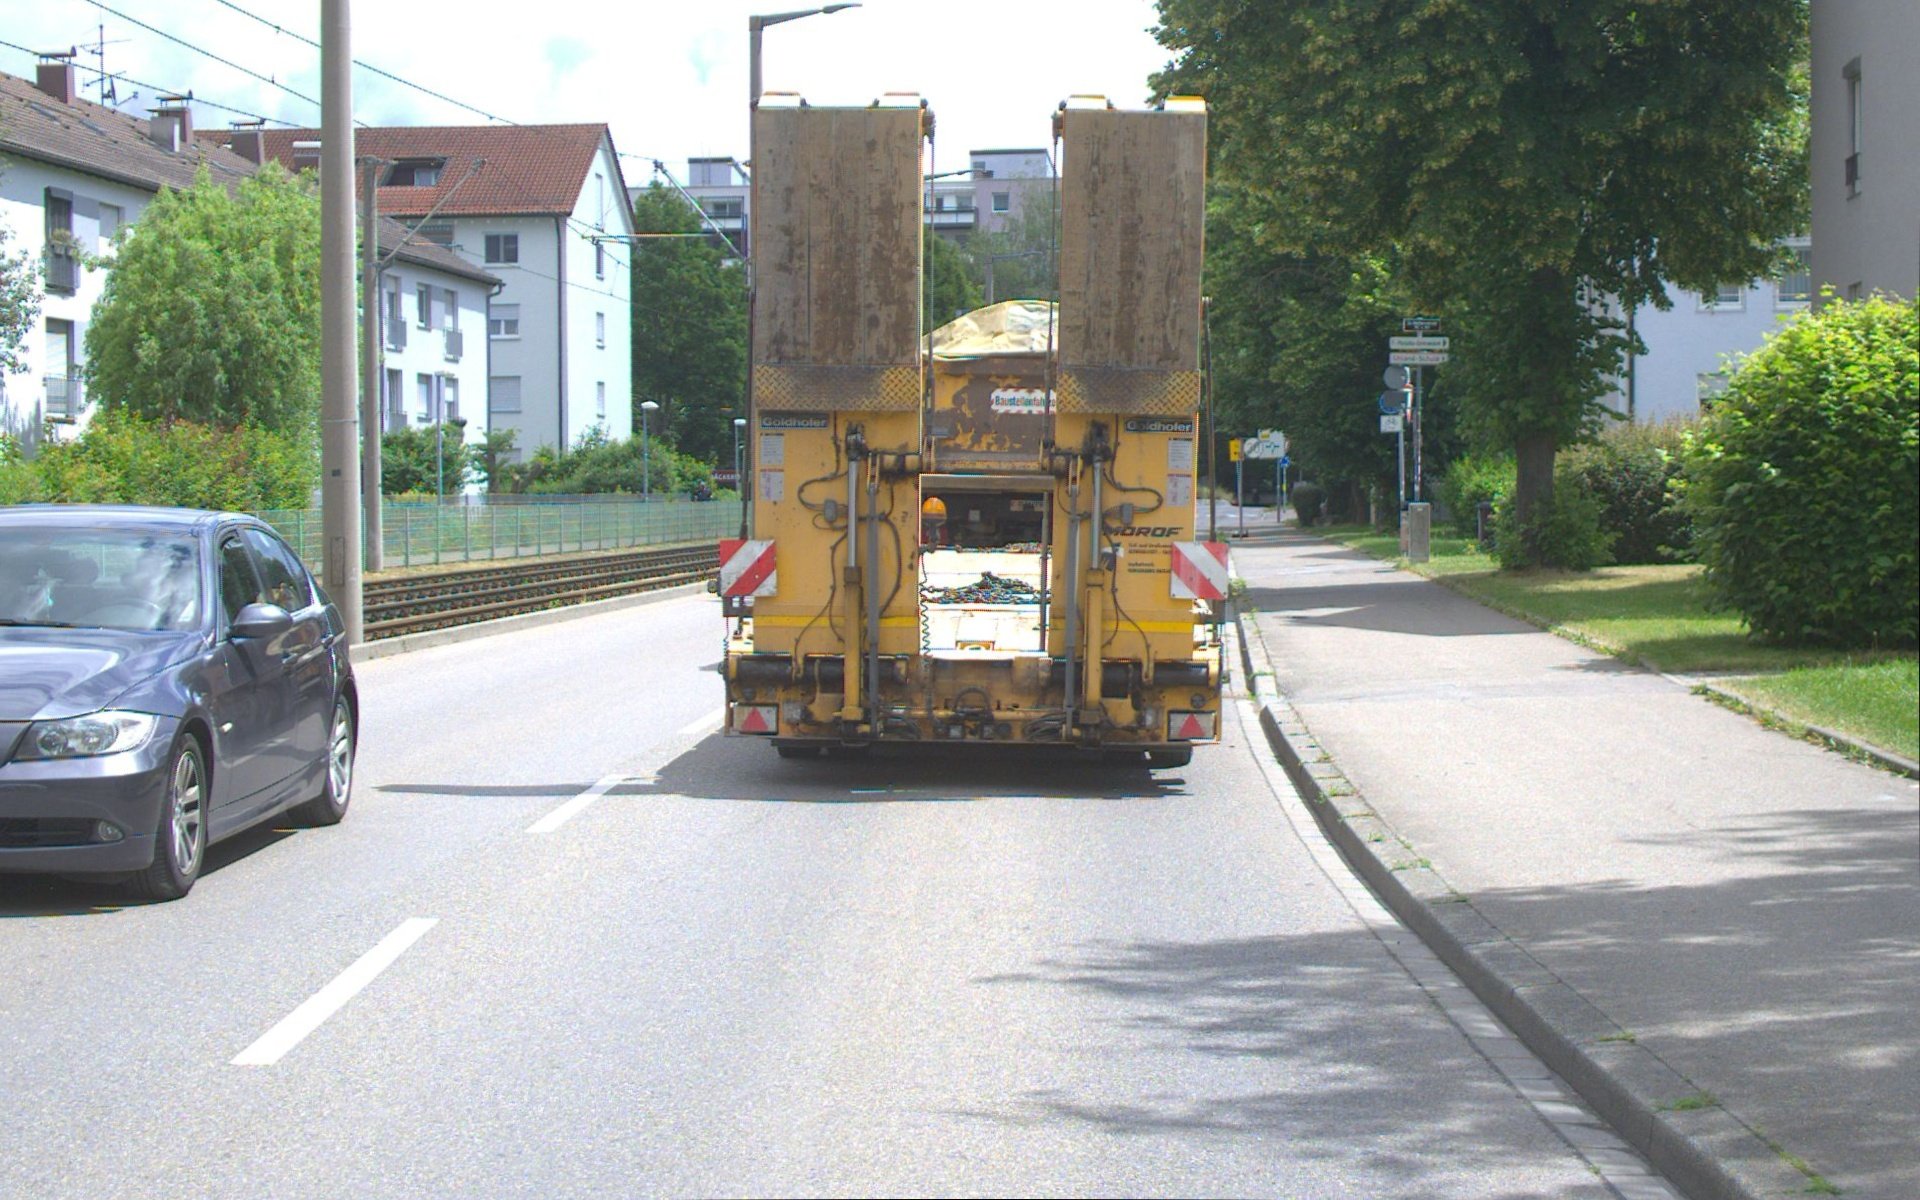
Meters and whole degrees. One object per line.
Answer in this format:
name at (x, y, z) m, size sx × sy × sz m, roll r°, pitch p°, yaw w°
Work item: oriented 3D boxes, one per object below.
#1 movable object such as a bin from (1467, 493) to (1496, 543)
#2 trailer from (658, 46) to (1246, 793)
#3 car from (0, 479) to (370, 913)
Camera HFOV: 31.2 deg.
movable object such as a bin at (10.162, -1.604, 67.041) m, size 0.496 × 0.951 × 0.580 m, roll -1°, pitch 1°, yaw 4°
trailer at (-0.047, -1.084, 23.248) m, size 2.827 × 3.633 × 12.355 m, roll 1°, pitch 2°, yaw 0°
car at (-3.542, 0.252, 13.660) m, size 1.628 × 1.427 × 4.167 m, roll 1°, pitch 2°, yaw 0°
